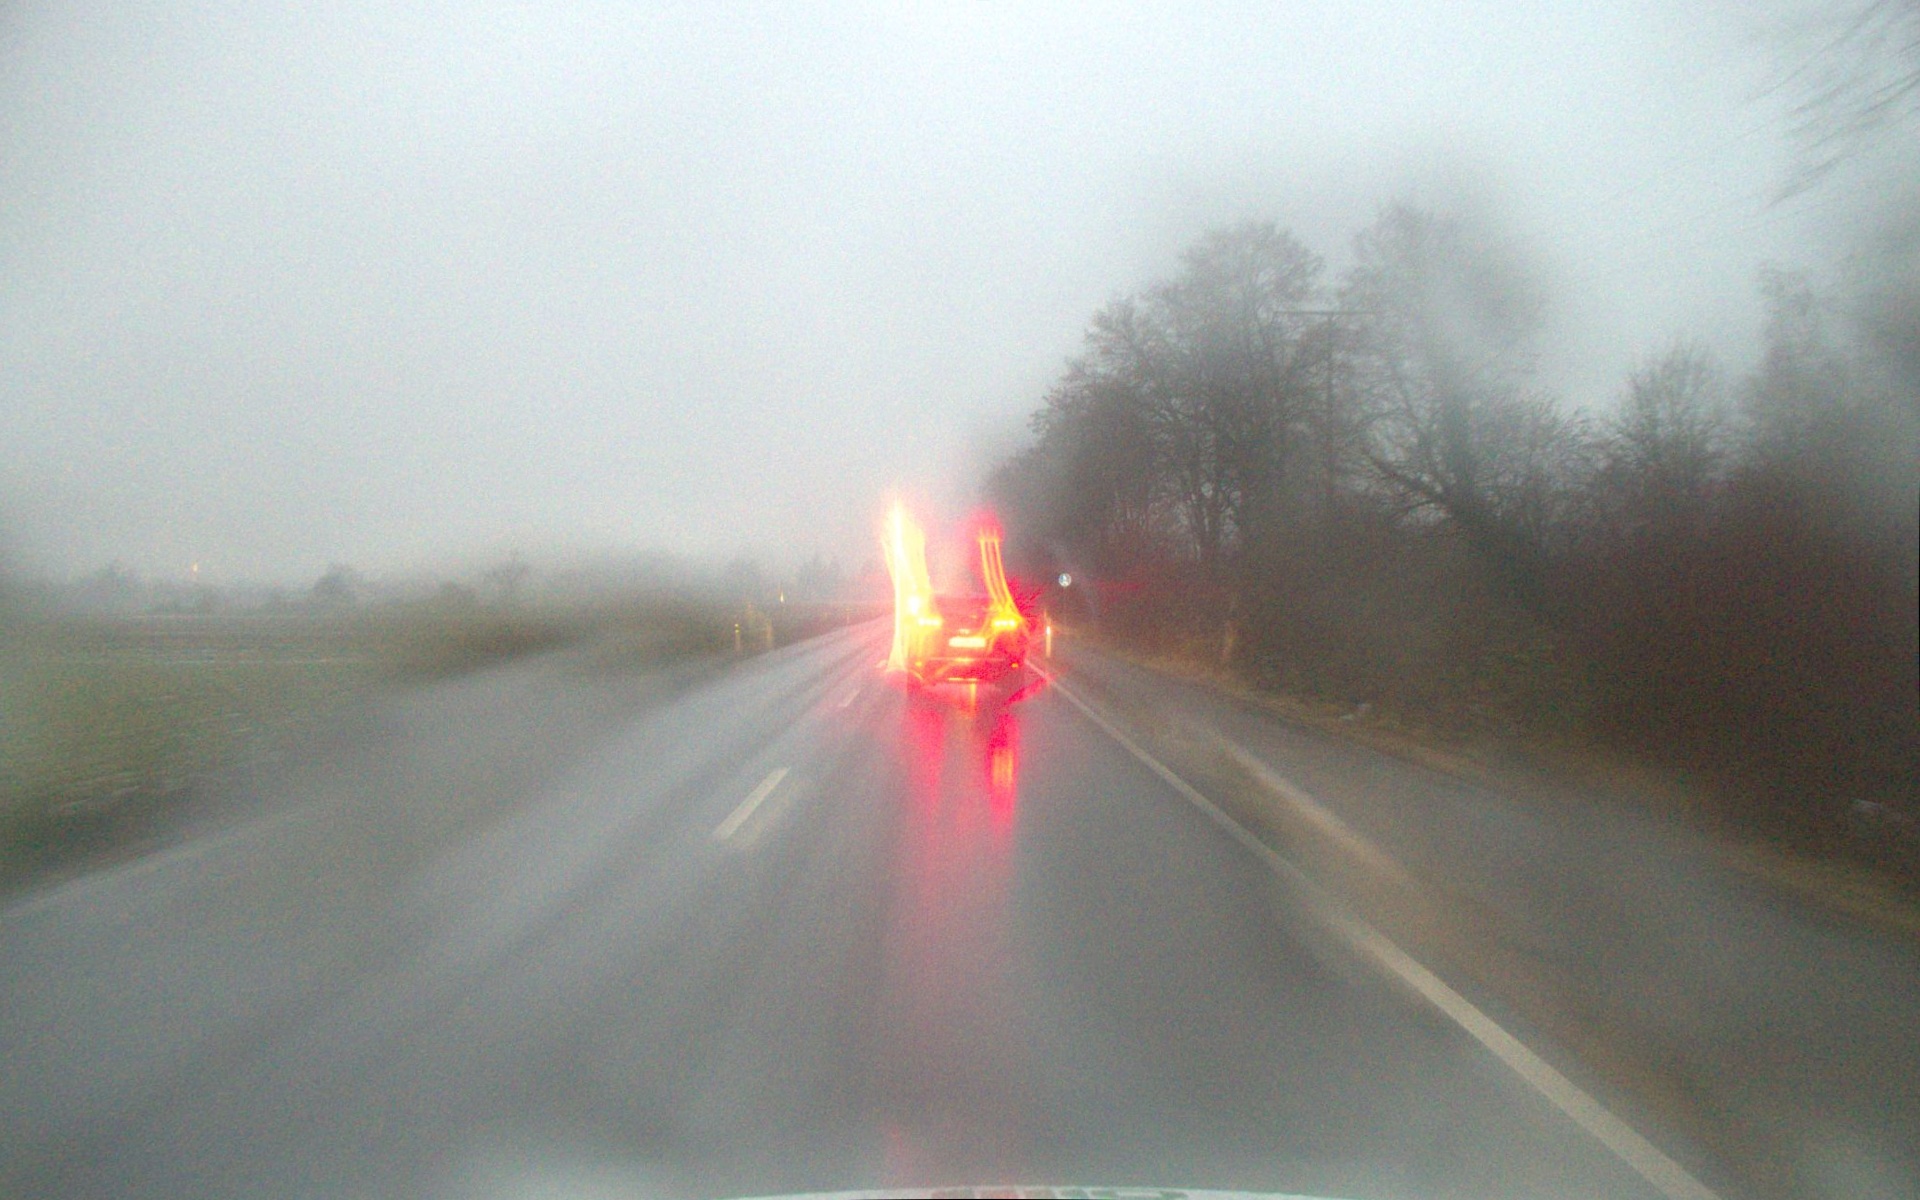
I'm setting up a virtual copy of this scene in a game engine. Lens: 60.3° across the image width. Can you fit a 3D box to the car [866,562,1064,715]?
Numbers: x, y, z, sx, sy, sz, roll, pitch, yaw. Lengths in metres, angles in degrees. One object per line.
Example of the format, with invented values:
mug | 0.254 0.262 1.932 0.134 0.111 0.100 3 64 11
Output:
car | 0.077 0.552 26.328 2.762 2.113 5.804 1 0 0
